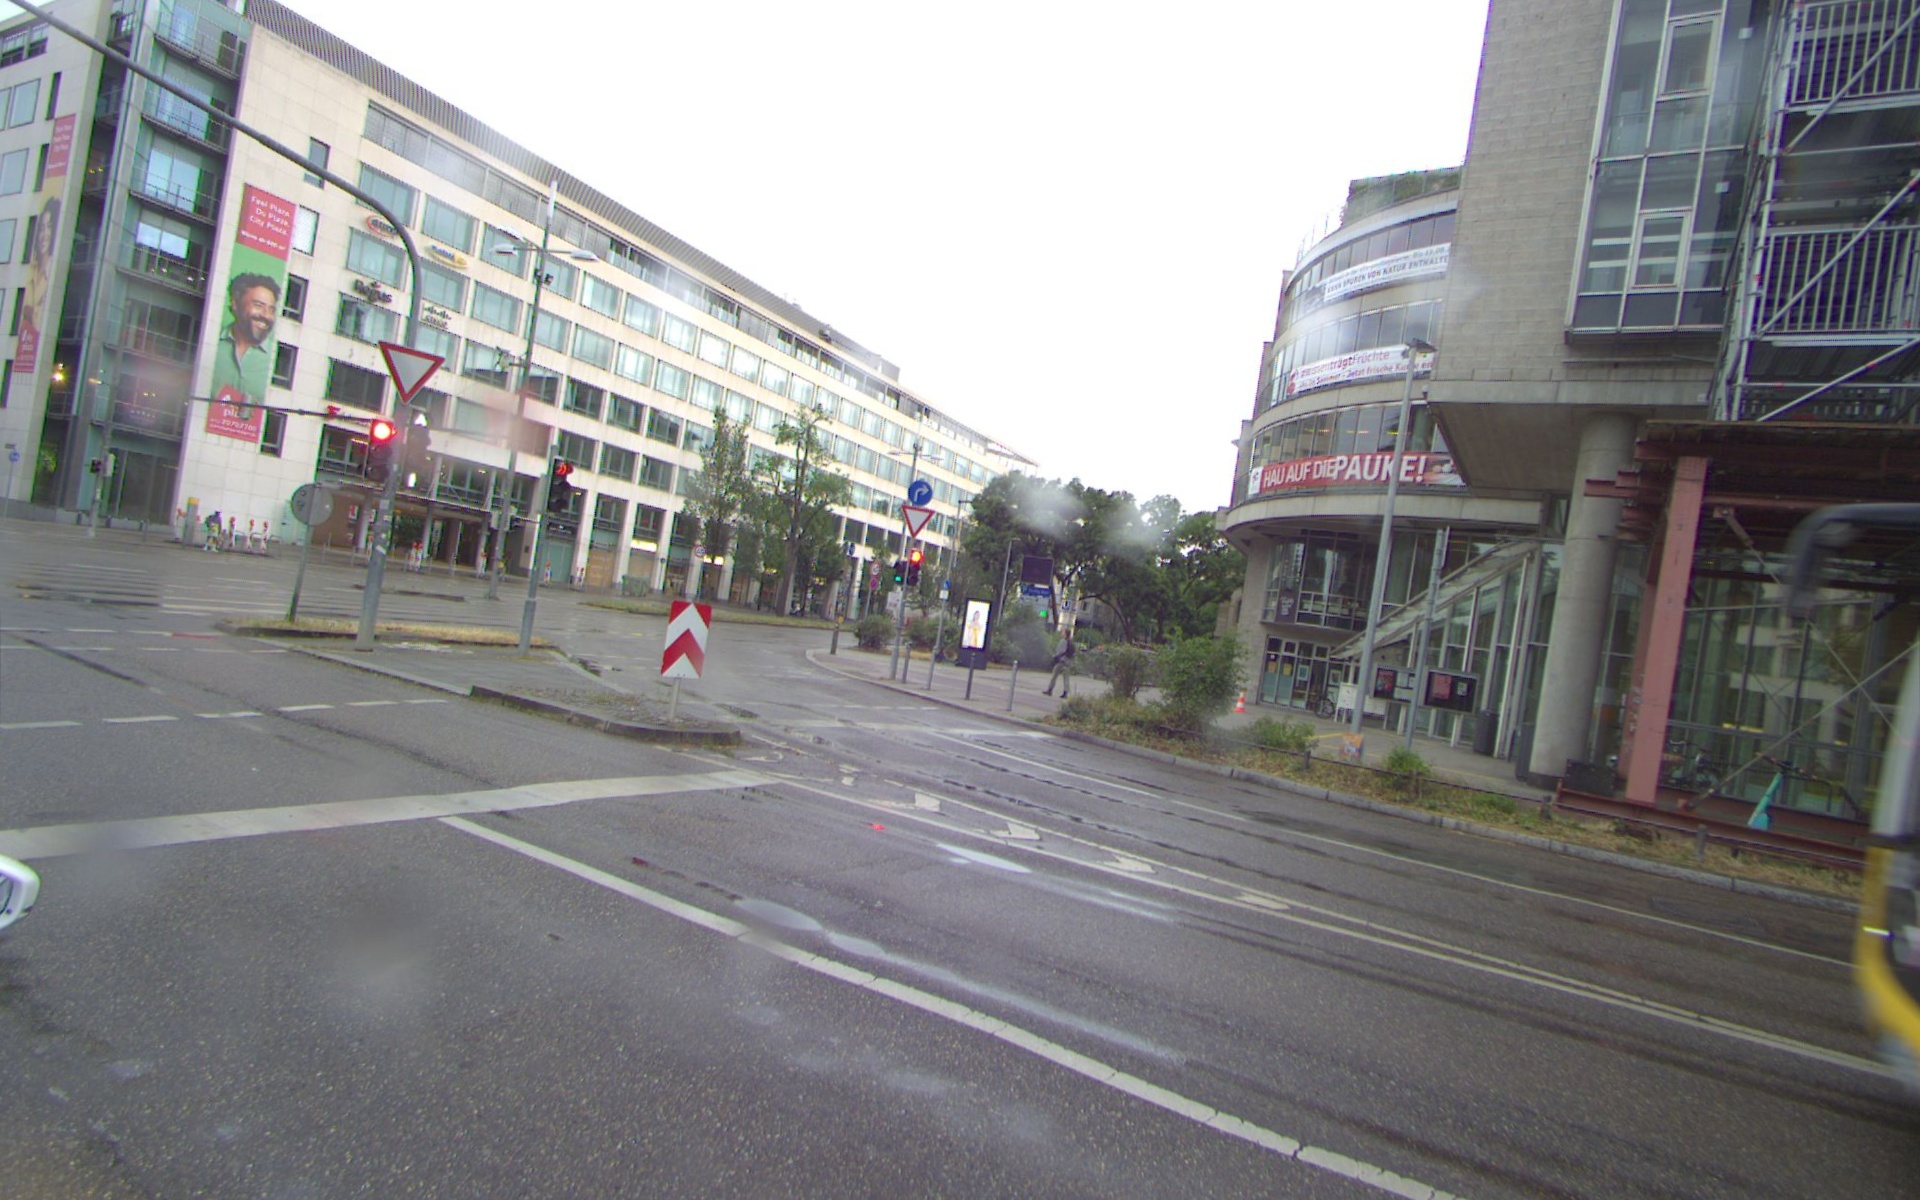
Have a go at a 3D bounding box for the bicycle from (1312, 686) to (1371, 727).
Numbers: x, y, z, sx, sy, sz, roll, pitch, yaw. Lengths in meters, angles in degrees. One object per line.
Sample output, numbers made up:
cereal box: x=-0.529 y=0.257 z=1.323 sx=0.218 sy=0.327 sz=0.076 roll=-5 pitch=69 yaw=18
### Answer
bicycle: x=13.460 y=3.751 z=35.525 sx=1.753 sy=1.208 sz=0.586 roll=6 pitch=-1 yaw=29

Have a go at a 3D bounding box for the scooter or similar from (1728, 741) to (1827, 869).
scooter or similar: x=9.227 y=2.272 z=11.412 sx=0.577 sy=1.208 sz=1.780 roll=7 pitch=-1 yaw=34

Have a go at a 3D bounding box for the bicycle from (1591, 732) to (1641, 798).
bicycle: x=13.596 y=3.394 z=20.883 sx=0.576 sy=1.208 sz=1.614 roll=7 pitch=-2 yaw=27

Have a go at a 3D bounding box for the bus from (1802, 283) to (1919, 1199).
bus: x=7.573 y=0.710 z=1.085 sx=9.596 sy=3.490 sz=2.888 roll=6 pitch=-2 yaw=32

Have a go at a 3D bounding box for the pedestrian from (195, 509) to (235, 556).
pedestrian: x=-32.124 y=-2.917 z=43.371 sx=0.822 sy=1.838 sz=0.963 roll=6 pitch=-1 yaw=31

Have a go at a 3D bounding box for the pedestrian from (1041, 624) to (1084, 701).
pedestrian: x=2.570 y=1.570 z=25.227 sx=0.776 sy=1.796 sz=0.781 roll=7 pitch=-1 yaw=13

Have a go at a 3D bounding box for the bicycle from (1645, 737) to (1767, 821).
bicycle: x=13.491 y=3.227 z=18.223 sx=1.584 sy=1.208 sz=0.587 roll=7 pitch=-1 yaw=6
